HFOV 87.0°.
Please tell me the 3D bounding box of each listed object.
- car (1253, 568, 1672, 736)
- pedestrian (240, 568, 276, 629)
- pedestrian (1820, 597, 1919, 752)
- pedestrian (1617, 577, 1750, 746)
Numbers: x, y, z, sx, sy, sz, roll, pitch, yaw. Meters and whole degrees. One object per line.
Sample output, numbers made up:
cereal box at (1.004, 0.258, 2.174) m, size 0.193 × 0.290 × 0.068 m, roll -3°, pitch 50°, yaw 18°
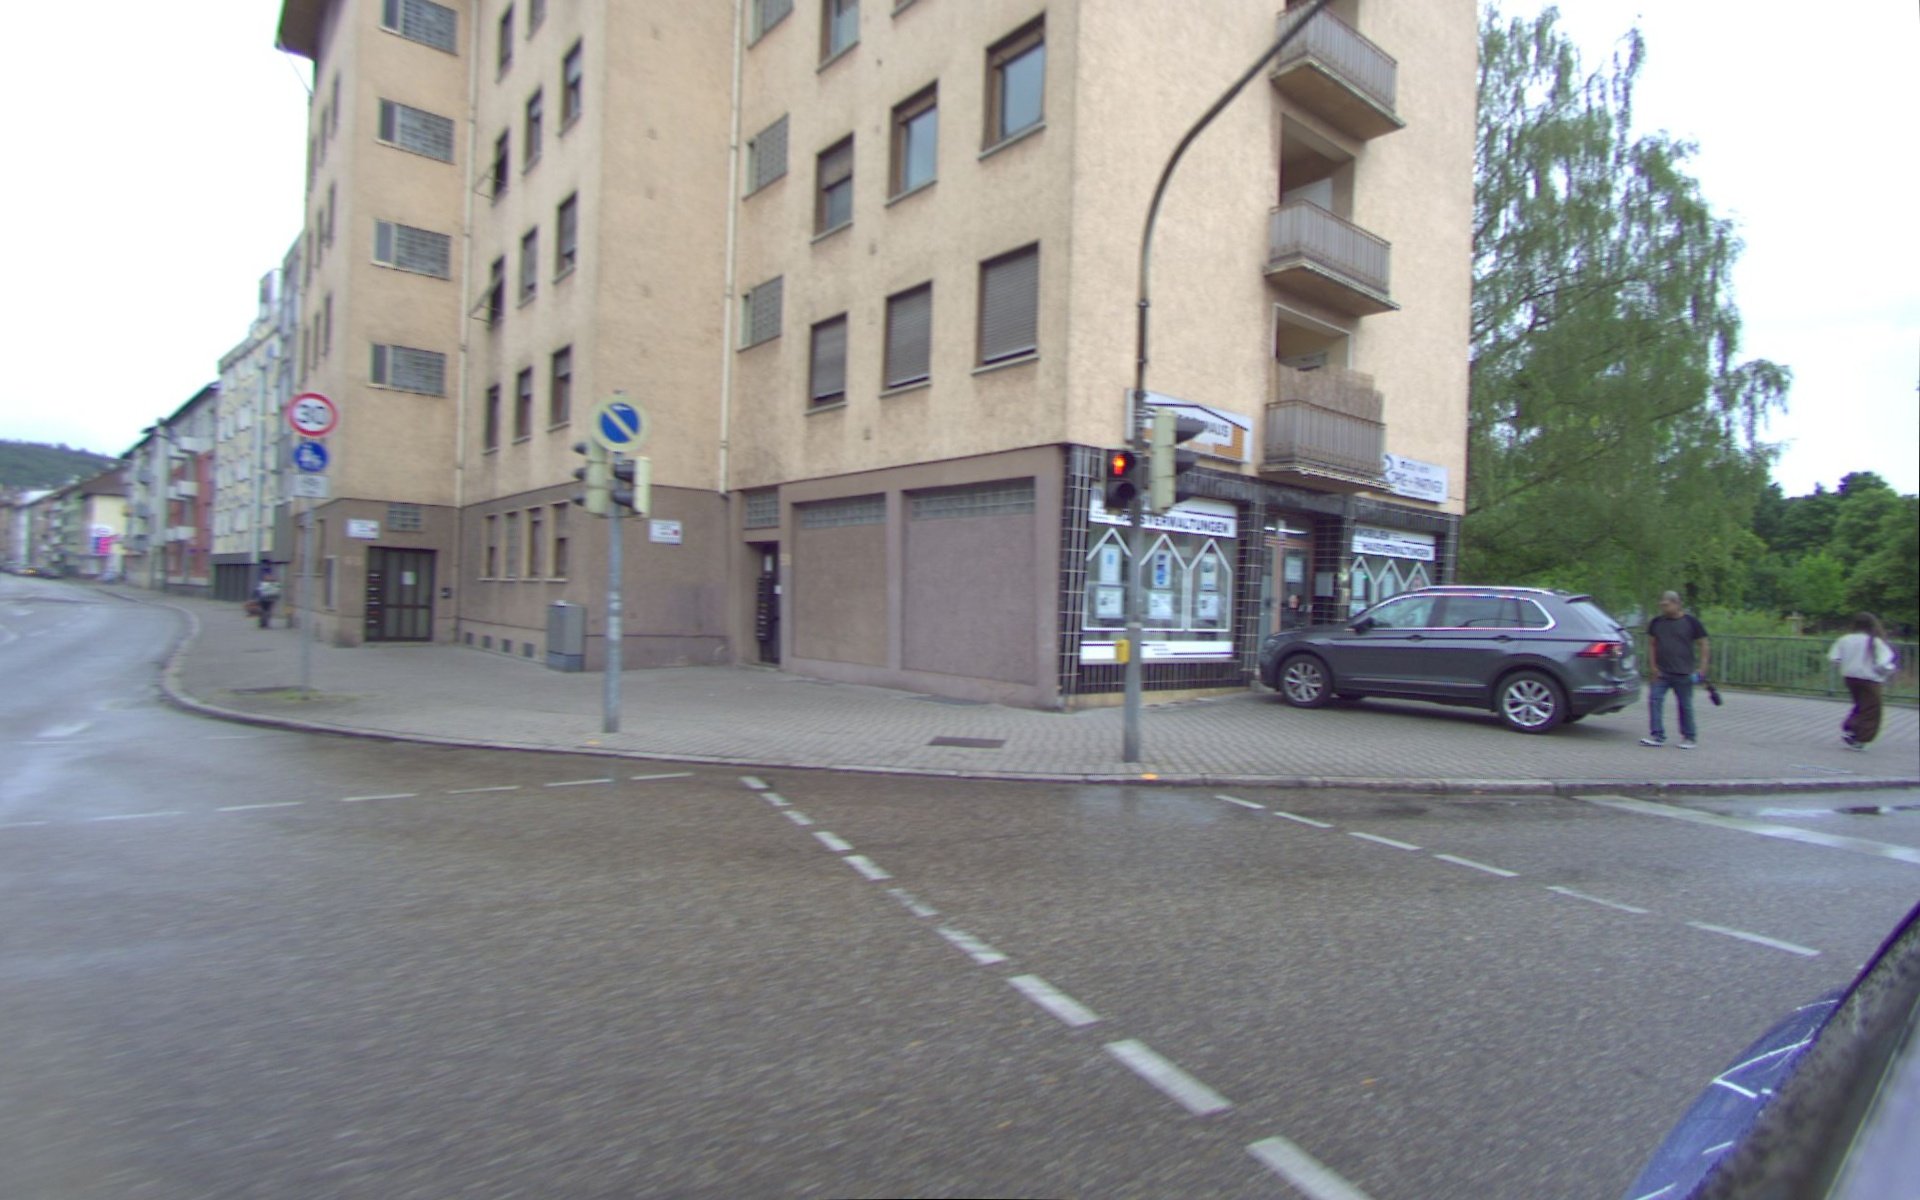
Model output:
car at (6.166, 0.498, 12.751) m, size 4.366 × 1.669 × 1.854 m, roll 3°, pitch 2°, yaw 43°
pedestrian at (-21.489, -0.019, 30.969) m, size 0.766 × 1.828 × 1.030 m, roll 3°, pitch -3°, yaw -40°
pedestrian at (10.086, 0.788, 11.161) m, size 0.768 × 1.594 × 0.762 m, roll 1°, pitch 2°, yaw -43°
pedestrian at (7.671, 0.634, 10.754) m, size 0.765 × 1.698 × 0.765 m, roll 2°, pitch 1°, yaw -20°
